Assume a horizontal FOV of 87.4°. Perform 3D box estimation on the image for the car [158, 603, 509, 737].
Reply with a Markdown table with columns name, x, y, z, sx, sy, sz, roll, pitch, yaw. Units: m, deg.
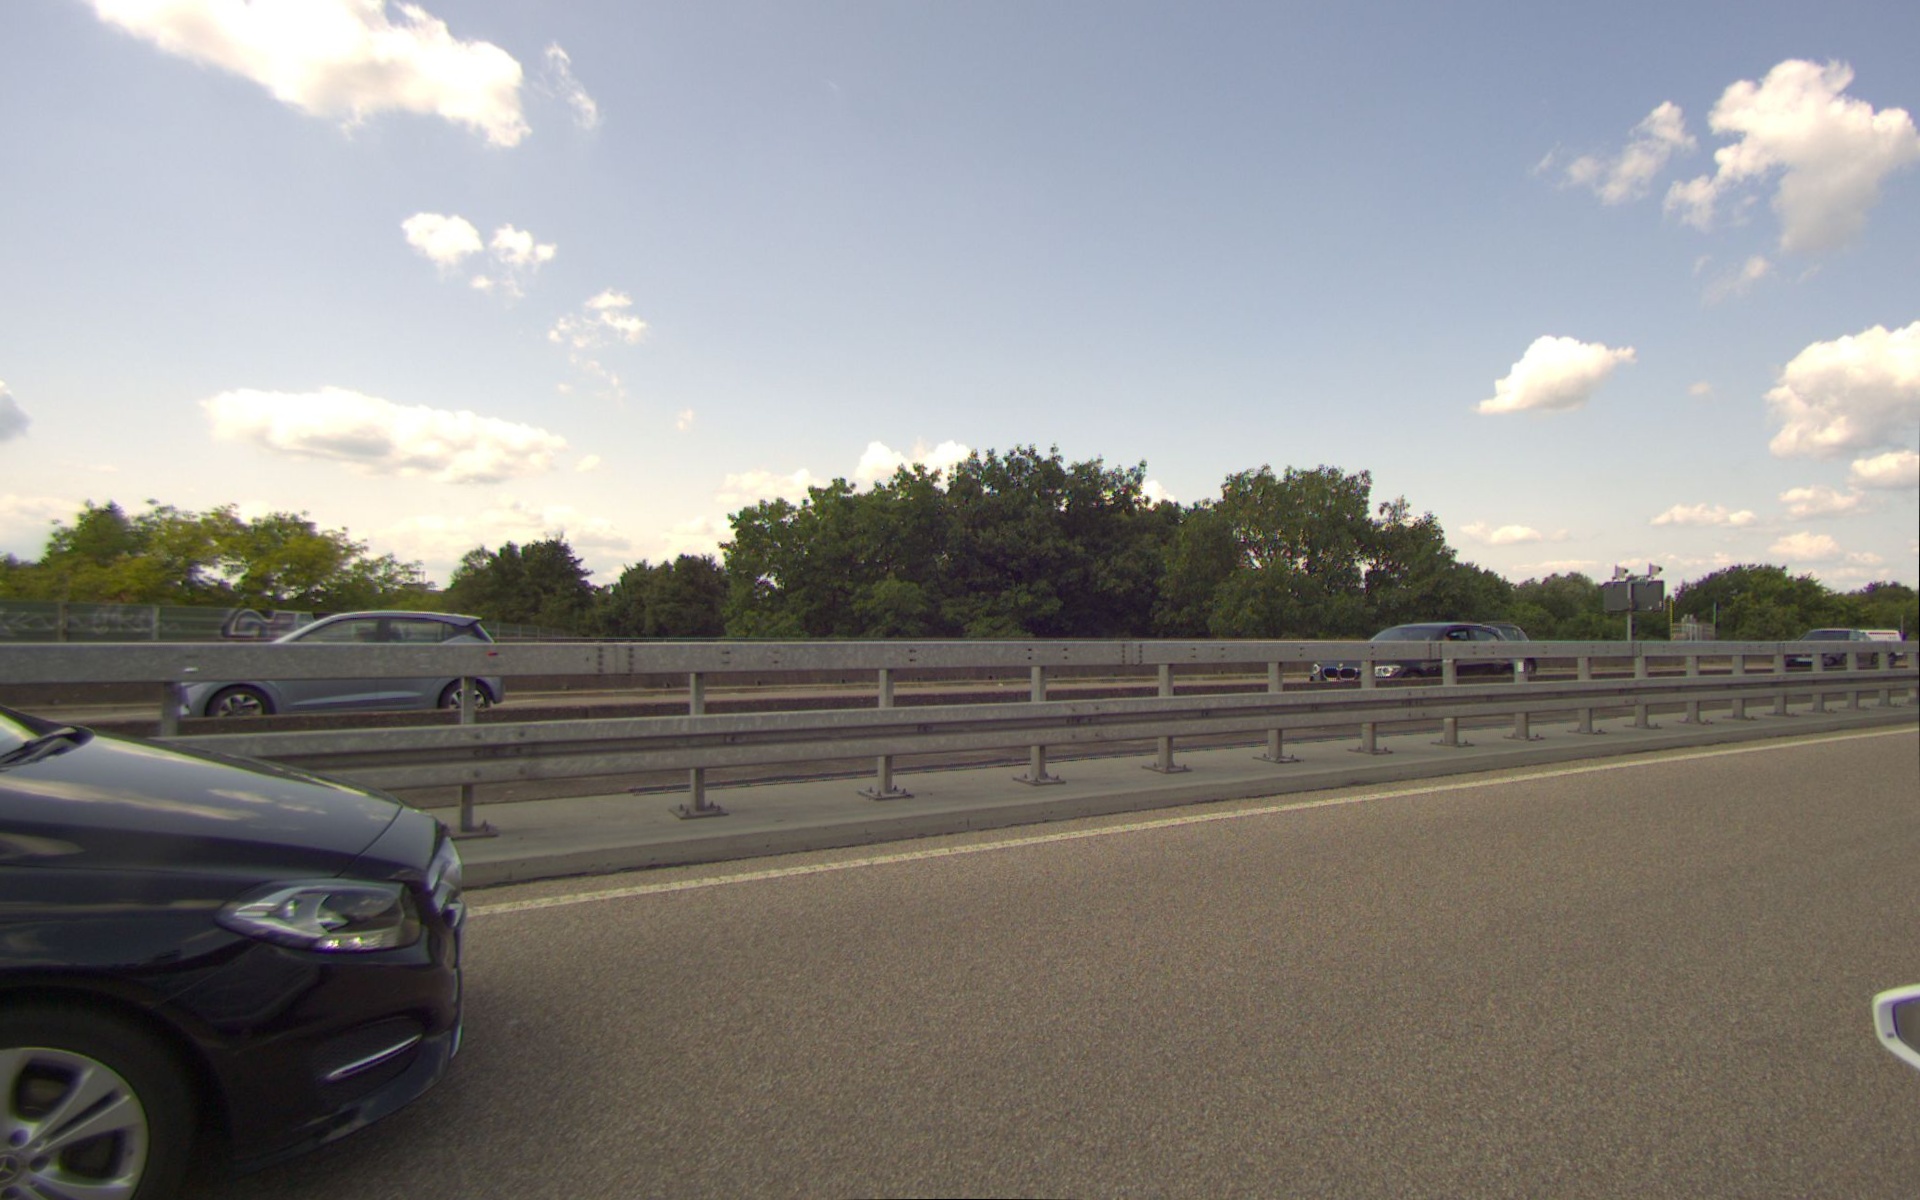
| name | x | y | z | sx | sy | sz | roll | pitch | yaw |
| --- | --- | --- | --- | --- | --- | --- | --- | --- | --- |
| car | -7.872 | 0.856 | 12.895 | 3.593 | 1.494 | 1.589 | 2 | -3 | -33 |

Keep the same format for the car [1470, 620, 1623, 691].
| name | x | y | z | sx | sy | sz | roll | pitch | yaw |
| --- | --- | --- | --- | --- | --- | --- | --- | --- | --- |
| car | 15.458 | 1.419 | 26.447 | 3.955 | 1.661 | 1.812 | 2 | 0 | -32 |

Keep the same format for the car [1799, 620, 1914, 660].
| name | x | y | z | sx | sy | sz | roll | pitch | yaw |
| --- | --- | --- | --- | --- | --- | --- | --- | --- | --- |
| car | 47.231 | 2.107 | 52.953 | 5.080 | 1.923 | 1.994 | 2 | 0 | -14 |

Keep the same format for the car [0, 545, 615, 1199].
| name | x | y | z | sx | sy | sz | roll | pitch | yaw |
| --- | --- | --- | --- | --- | --- | --- | --- | --- | --- |
| car | -3.259 | 0.626 | 2.105 | 4.540 | 1.548 | 1.703 | 2 | 0 | -31 |

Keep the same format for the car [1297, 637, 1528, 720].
| name | x | y | z | sx | sy | sz | roll | pitch | yaw |
| --- | --- | --- | --- | --- | --- | --- | --- | --- | --- |
| car | 7.800 | 1.280 | 17.231 | 3.955 | 1.201 | 1.672 | 2 | 0 | -32 |

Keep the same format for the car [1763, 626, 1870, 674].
| name | x | y | z | sx | sy | sz | roll | pitch | yaw |
| --- | --- | --- | --- | --- | --- | --- | --- | --- | --- |
| car | 32.573 | 1.874 | 38.168 | 4.465 | 1.662 | 1.879 | 2 | 0 | -33 |
